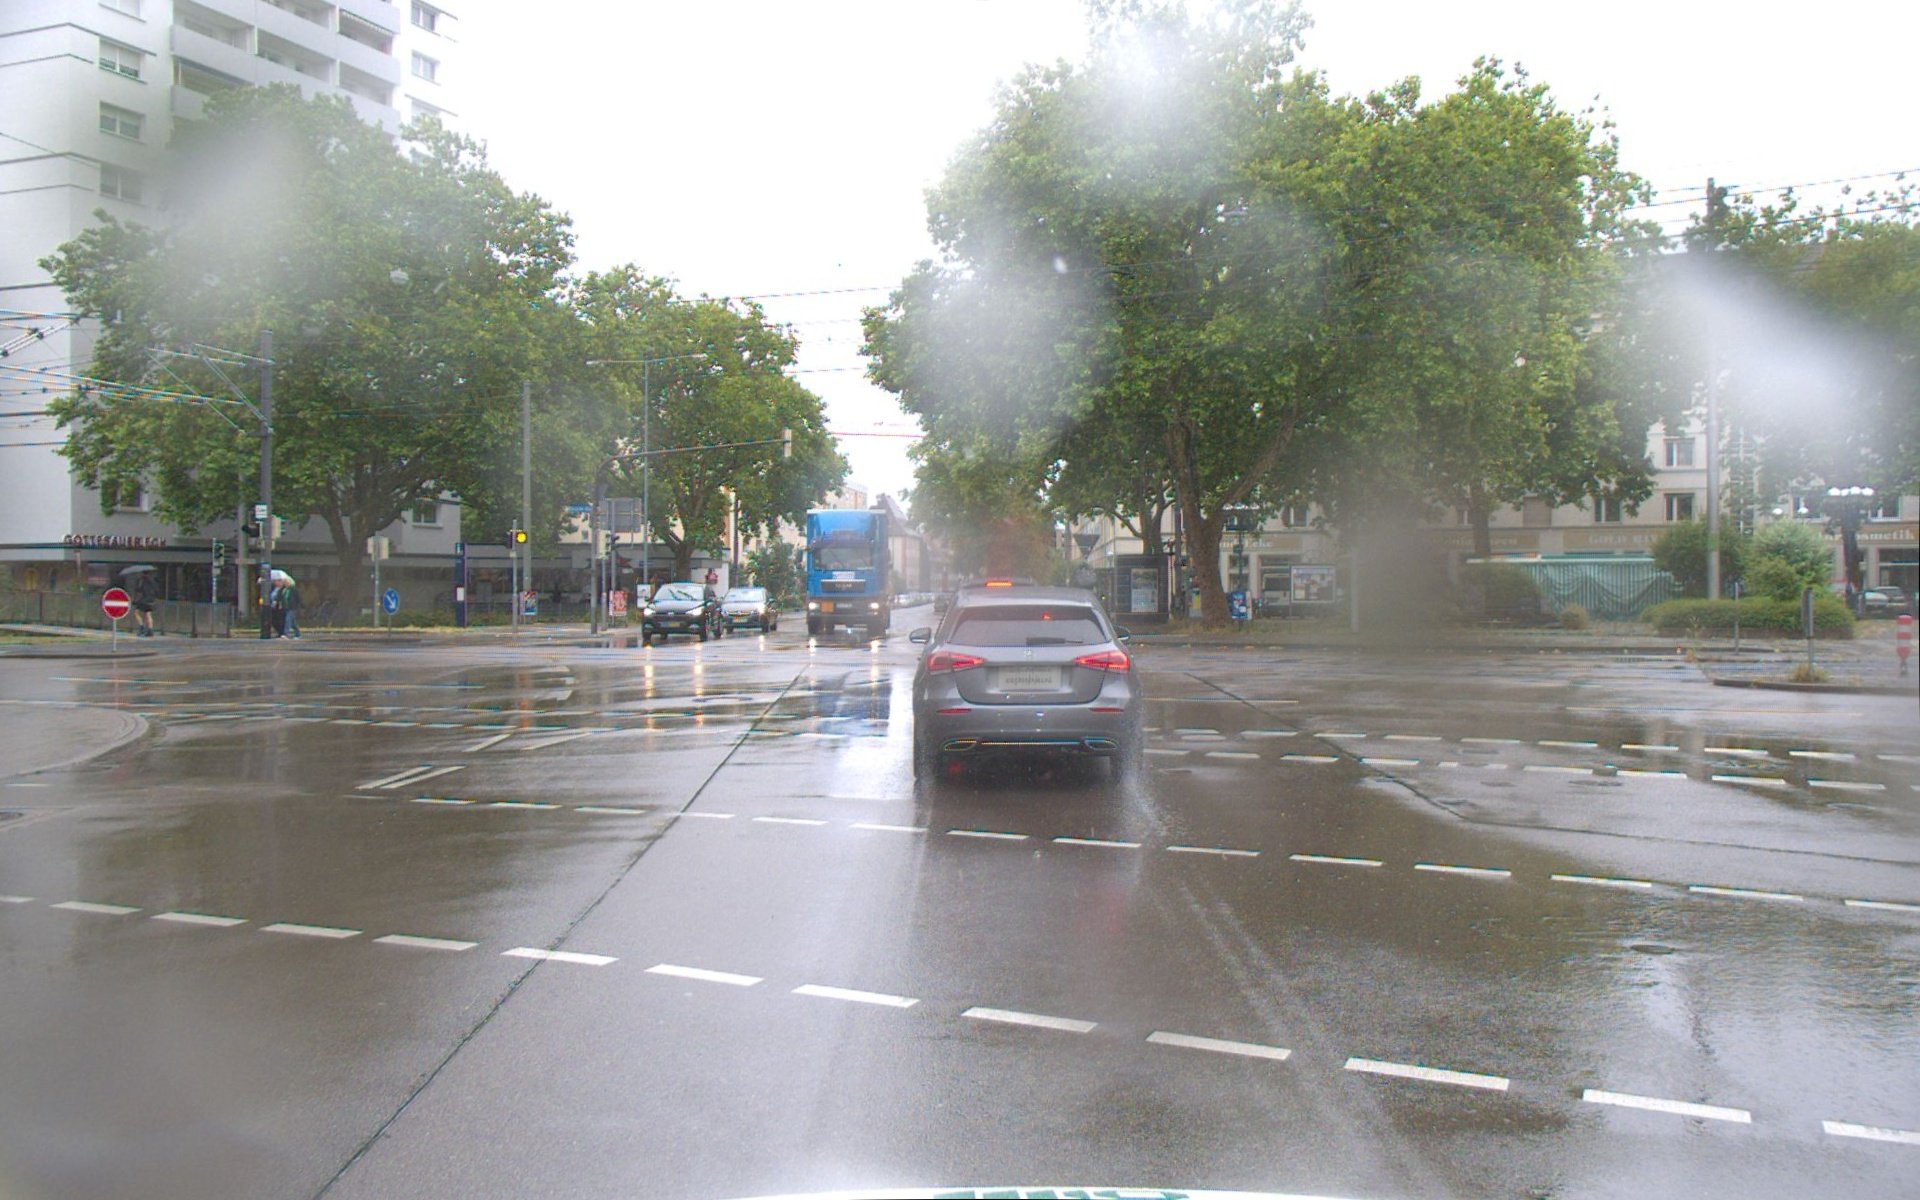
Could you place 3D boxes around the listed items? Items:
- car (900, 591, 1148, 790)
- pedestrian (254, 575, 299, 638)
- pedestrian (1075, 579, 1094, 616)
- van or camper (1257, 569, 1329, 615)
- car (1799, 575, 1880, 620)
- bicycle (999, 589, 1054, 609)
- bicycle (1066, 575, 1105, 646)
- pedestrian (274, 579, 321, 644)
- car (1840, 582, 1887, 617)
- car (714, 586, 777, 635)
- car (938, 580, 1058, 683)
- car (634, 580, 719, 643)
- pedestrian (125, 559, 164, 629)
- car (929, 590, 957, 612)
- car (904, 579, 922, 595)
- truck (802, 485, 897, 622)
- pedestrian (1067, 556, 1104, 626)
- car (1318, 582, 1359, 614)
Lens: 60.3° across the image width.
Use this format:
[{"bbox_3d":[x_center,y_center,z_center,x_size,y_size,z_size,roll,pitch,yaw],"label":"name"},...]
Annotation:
[{"bbox_3d":[0.412,0.639,13.602,1.755,1.396,3.505,1,0,-2],"label":"car"},{"bbox_3d":[-18.790,0.173,45.468,0.774,1.677,0.817,-1,0,14],"label":"pedestrian"},{"bbox_3d":[5.790,-0.125,76.721,0.704,1.698,0.663,0,0,-14],"label":"pedestrian"},{"bbox_3d":[17.172,-0.414,85.027,2.349,2.270,5.425,-1,0,26],"label":"van or camper"},{"bbox_3d":[31.113,-0.085,58.590,1.627,1.548,3.682,-1,0,13],"label":"car"},{"bbox_3d":[4.052,-0.074,101.103,3.159,1.132,1.048,-1,-4,-20],"label":"bicycle"},{"bbox_3d":[2.631,0.199,34.405,0.733,1.401,2.709,-1,0,5],"label":"bicycle"},{"bbox_3d":[-17.504,0.299,43.696,0.817,1.677,0.756,-1,0,14],"label":"pedestrian"},{"bbox_3d":[41.352,0.005,75.774,1.518,1.492,3.365,-1,-2,23],"label":"car"},{"bbox_3d":[-7.161,0.327,55.582,1.692,1.573,4.338,-1,0,-2],"label":"car"},{"bbox_3d":[0.504,0.427,24.985,1.575,1.396,3.999,-1,0,-2],"label":"car"},{"bbox_3d":[-7.472,0.276,43.940,1.708,1.573,3.777,-1,0,-2],"label":"car"},{"bbox_3d":[-22.291,-0.167,45.192,0.663,1.870,0.640,-1,0,21],"label":"pedestrian"},{"bbox_3d":[-1.334,0.083,127.786,1.954,1.601,3.998,-1,0,-3],"label":"car"},{"bbox_3d":[-5.776,-1.554,203.194,1.850,1.868,4.001,-1,0,2],"label":"car"},{"bbox_3d":[-3.565,-1.442,55.504,2.788,4.095,10.312,-1,0,-2],"label":"truck"},{"bbox_3d":[2.623,-0.189,34.450,0.728,1.422,1.048,-1,0,5],"label":"pedestrian"},{"bbox_3d":[19.215,-0.082,83.912,1.644,1.603,3.737,0,-1,19],"label":"car"}]
